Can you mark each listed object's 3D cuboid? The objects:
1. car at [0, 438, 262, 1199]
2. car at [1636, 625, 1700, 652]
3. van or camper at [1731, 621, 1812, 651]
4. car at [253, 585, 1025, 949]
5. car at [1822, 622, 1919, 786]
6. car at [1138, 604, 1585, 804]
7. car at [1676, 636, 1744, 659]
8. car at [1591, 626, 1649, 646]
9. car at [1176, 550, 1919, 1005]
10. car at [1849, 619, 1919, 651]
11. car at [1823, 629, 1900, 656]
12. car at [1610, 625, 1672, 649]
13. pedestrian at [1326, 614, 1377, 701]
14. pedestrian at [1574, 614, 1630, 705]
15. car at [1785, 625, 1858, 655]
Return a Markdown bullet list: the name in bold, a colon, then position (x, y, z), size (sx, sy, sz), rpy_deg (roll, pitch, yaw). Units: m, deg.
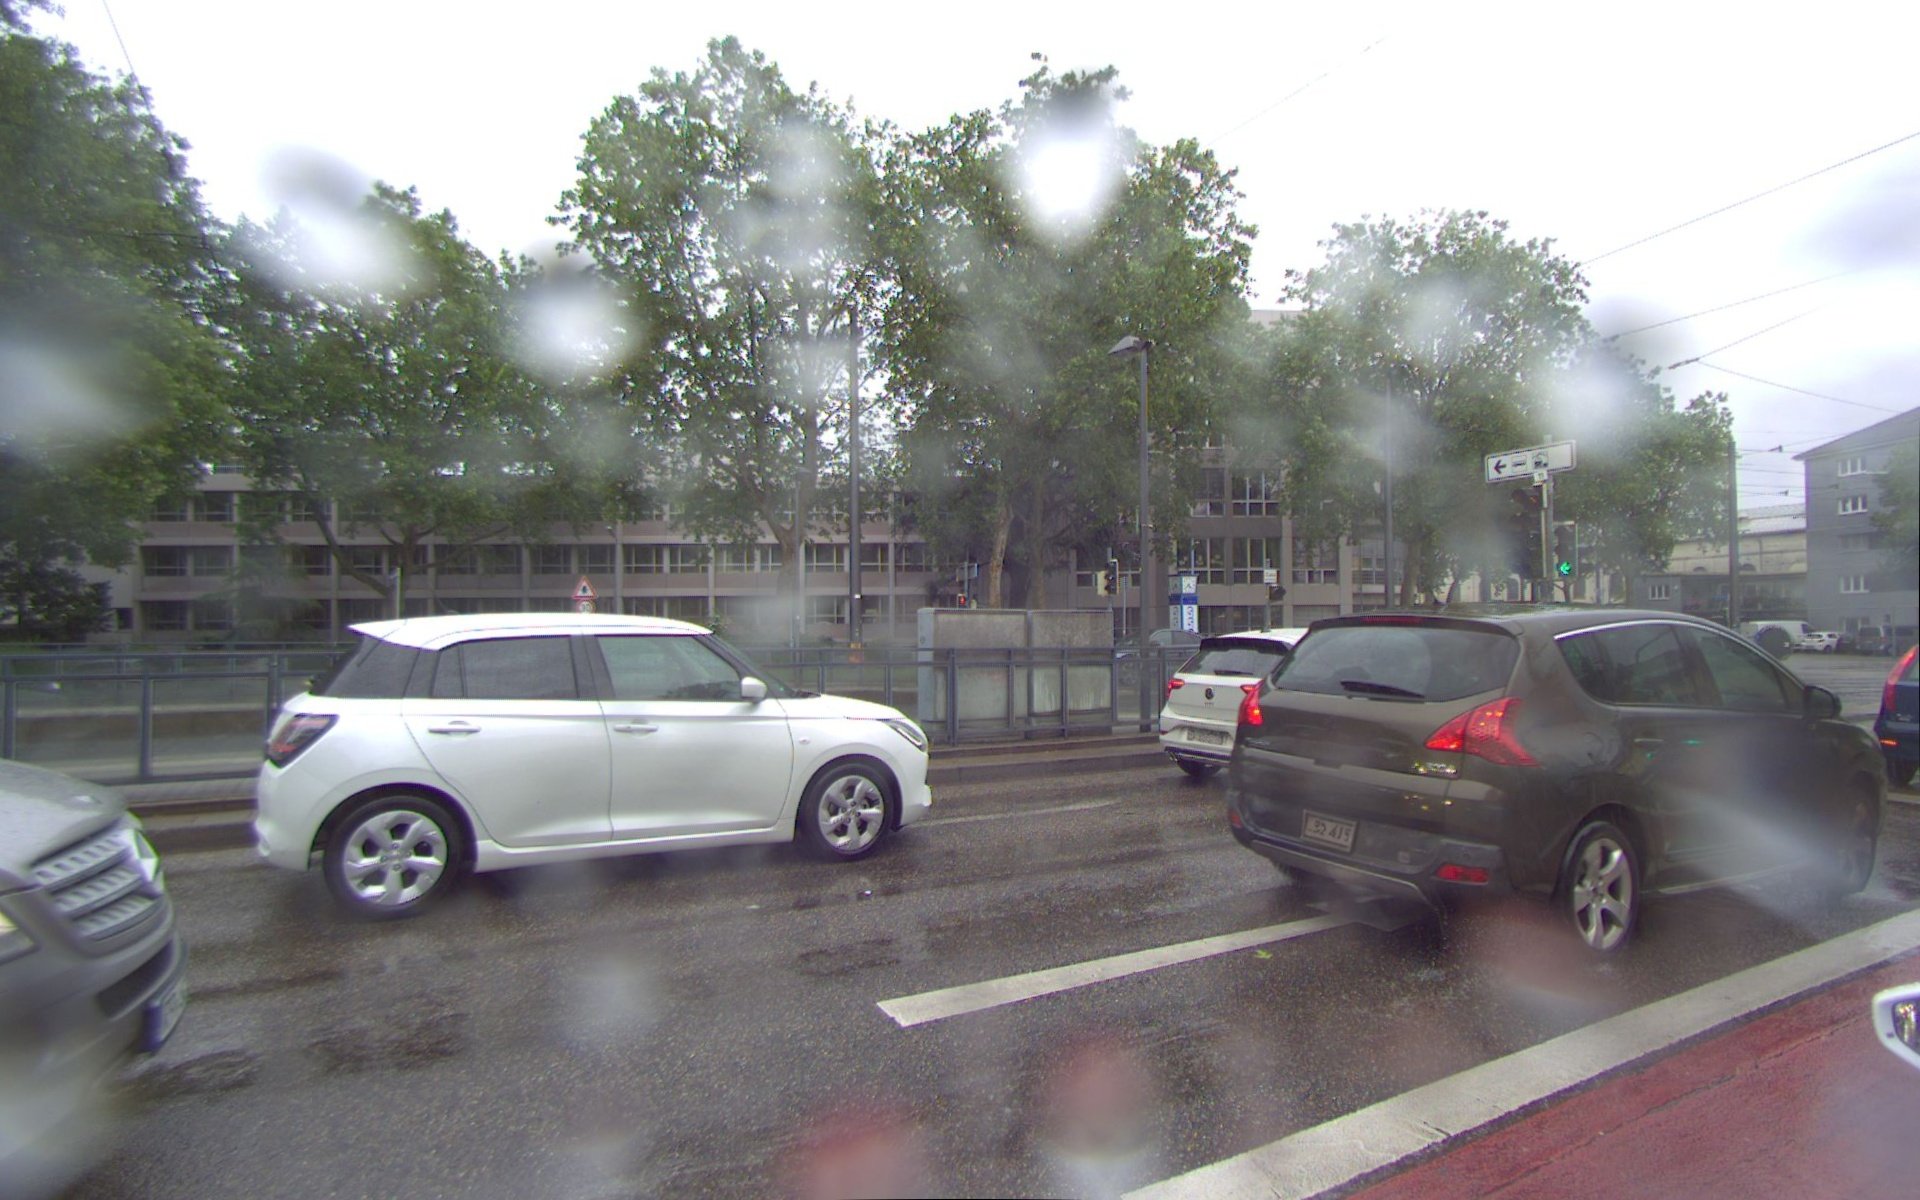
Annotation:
- **car**: position (-3.894, 0.556, 1.433), size (4.627, 1.668, 1.898), rpy_deg (0, 0, -32)
- **car**: position (58.821, 3.197, 83.477), size (3.921, 2.040, 2.000), rpy_deg (2, 0, 0)
- **van or camper**: position (59.591, 2.606, 73.769), size (4.568, 2.102, 1.998), rpy_deg (1, -1, -7)
- **car**: position (-1.771, 0.752, 6.199), size (4.022, 1.608, 1.794), rpy_deg (0, -1, -28)
- **car**: position (10.475, 1.006, 9.866), size (3.786, 1.478, 1.874), rpy_deg (2, -1, -29)
- **car**: position (3.902, 0.842, 9.642), size (4.140, 1.557, 1.799), rpy_deg (0, -1, -29)
- **car**: position (59.019, 3.722, 79.045), size (3.924, 1.635, 1.999), rpy_deg (2, -1, -5)
- **car**: position (59.211, 3.210, 90.149), size (3.921, 1.787, 2.000), rpy_deg (-1, -1, 0)
- **car**: position (3.388, 0.682, 5.635), size (4.140, 1.732, 1.794), rpy_deg (0, 0, -29)
- **car**: position (61.289, 2.266, 65.796), size (4.310, 2.040, 2.068), rpy_deg (0, 0, 0)
- **car**: position (61.671, 2.909, 68.762), size (3.930, 1.647, 1.952), rpy_deg (2, 0, -11)
- **car**: position (58.465, 3.157, 86.326), size (3.919, 1.954, 2.001), rpy_deg (0, 0, 4)
- **pedestrian**: position (8.038, 1.166, 20.618), size (0.932, 1.734, 0.830), rpy_deg (-1, -1, 22)
- **pedestrian**: position (11.812, 1.084, 18.496), size (0.721, 1.631, 0.717), rpy_deg (-1, -1, 22)
- **car**: position (60.966, 2.793, 71.065), size (3.931, 2.040, 1.995), rpy_deg (0, -1, -13)
